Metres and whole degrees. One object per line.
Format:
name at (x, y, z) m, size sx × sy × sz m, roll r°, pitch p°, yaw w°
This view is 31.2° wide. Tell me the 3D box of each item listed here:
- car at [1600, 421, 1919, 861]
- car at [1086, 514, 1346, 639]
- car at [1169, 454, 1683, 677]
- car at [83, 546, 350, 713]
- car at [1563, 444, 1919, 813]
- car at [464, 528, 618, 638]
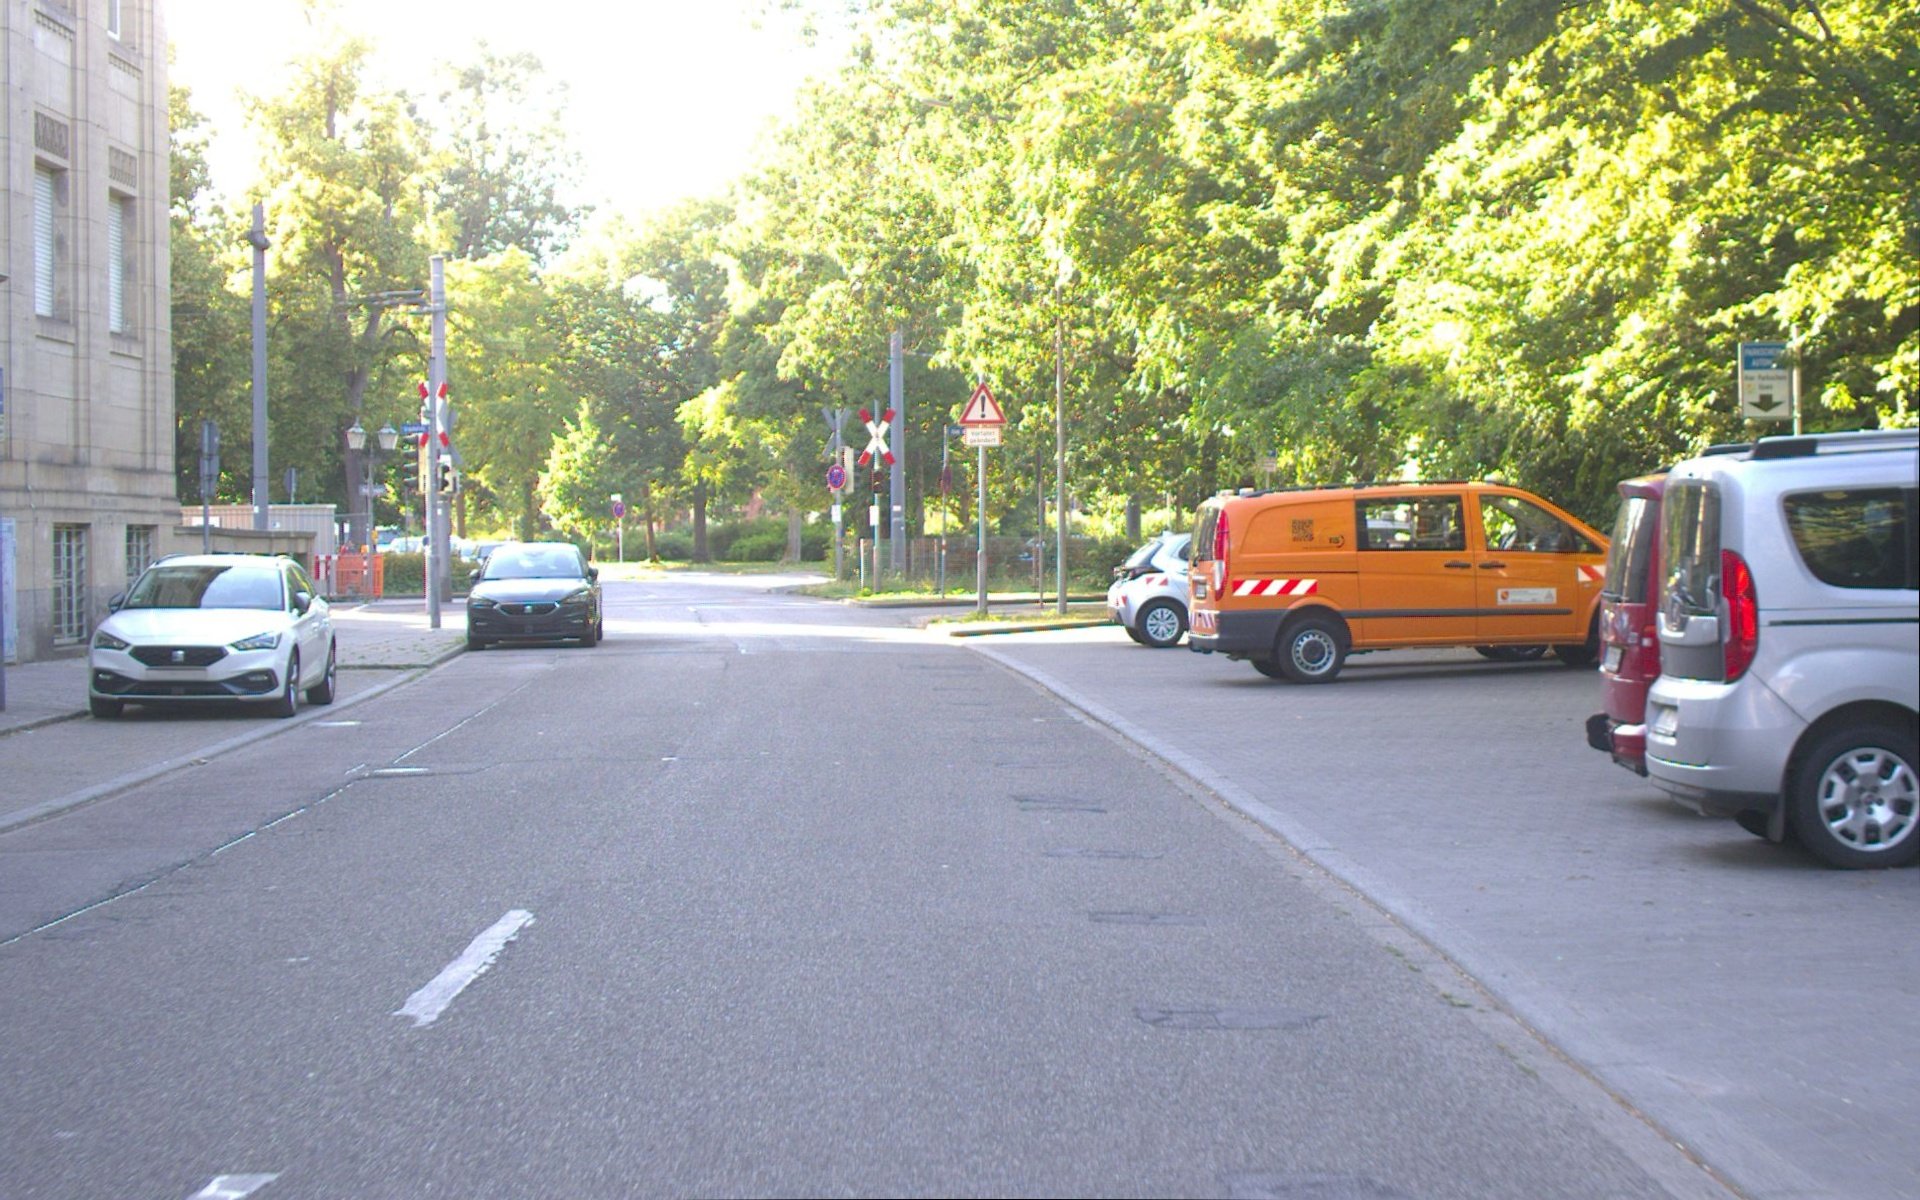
car at (5.241, 0.111, 15.701) m, size 4.229 × 1.853 × 2.000 m, roll -2°, pitch 1°, yaw 1°
car at (3.367, -0.327, 45.541) m, size 3.143 × 1.498 × 1.541 m, roll -2°, pitch 1°, yaw -6°
car at (4.702, -0.366, 34.992) m, size 4.817 × 2.007 × 1.802 m, roll -2°, pitch 1°, yaw -6°
car at (-6.777, 0.219, 31.734) m, size 1.727 × 1.392 × 4.374 m, roll 0°, pitch 1°, yaw -3°
car at (5.379, 0.089, 18.289) m, size 4.024 × 1.829 × 1.614 m, roll -2°, pitch 1°, yaw 1°
car at (-5.921, -0.281, 49.036) m, size 1.878 × 1.461 × 4.374 m, roll 0°, pitch 2°, yaw -3°
